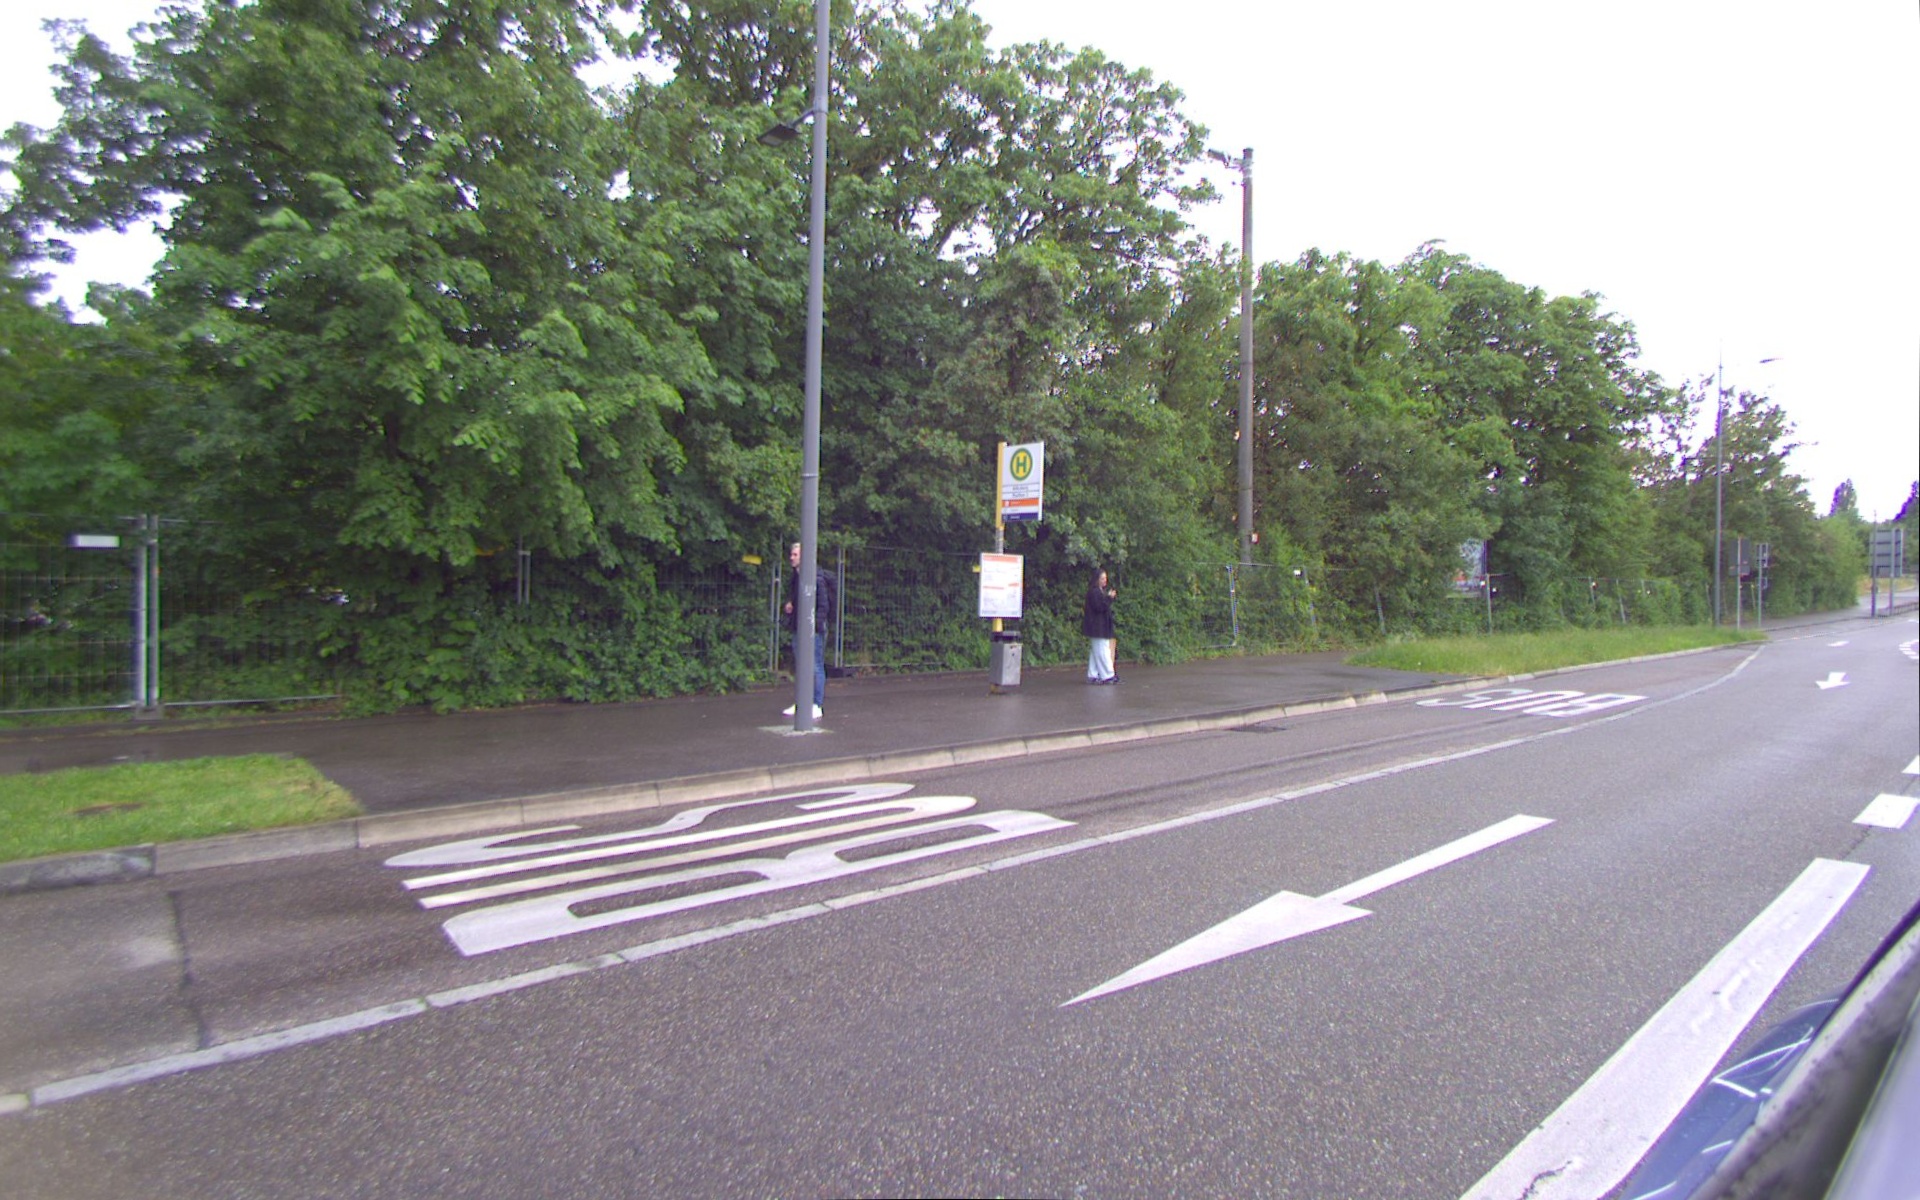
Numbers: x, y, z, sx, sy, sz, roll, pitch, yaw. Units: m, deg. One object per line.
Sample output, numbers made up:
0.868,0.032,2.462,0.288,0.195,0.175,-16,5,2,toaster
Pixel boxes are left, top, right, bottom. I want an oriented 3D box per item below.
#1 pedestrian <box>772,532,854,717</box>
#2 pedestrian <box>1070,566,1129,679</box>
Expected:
-1.642,0.254,11.282,0.587,1.973,0.742,0,1,-40,pedestrian
2.093,0.325,15.205,0.650,1.648,0.588,0,1,-40,pedestrian
